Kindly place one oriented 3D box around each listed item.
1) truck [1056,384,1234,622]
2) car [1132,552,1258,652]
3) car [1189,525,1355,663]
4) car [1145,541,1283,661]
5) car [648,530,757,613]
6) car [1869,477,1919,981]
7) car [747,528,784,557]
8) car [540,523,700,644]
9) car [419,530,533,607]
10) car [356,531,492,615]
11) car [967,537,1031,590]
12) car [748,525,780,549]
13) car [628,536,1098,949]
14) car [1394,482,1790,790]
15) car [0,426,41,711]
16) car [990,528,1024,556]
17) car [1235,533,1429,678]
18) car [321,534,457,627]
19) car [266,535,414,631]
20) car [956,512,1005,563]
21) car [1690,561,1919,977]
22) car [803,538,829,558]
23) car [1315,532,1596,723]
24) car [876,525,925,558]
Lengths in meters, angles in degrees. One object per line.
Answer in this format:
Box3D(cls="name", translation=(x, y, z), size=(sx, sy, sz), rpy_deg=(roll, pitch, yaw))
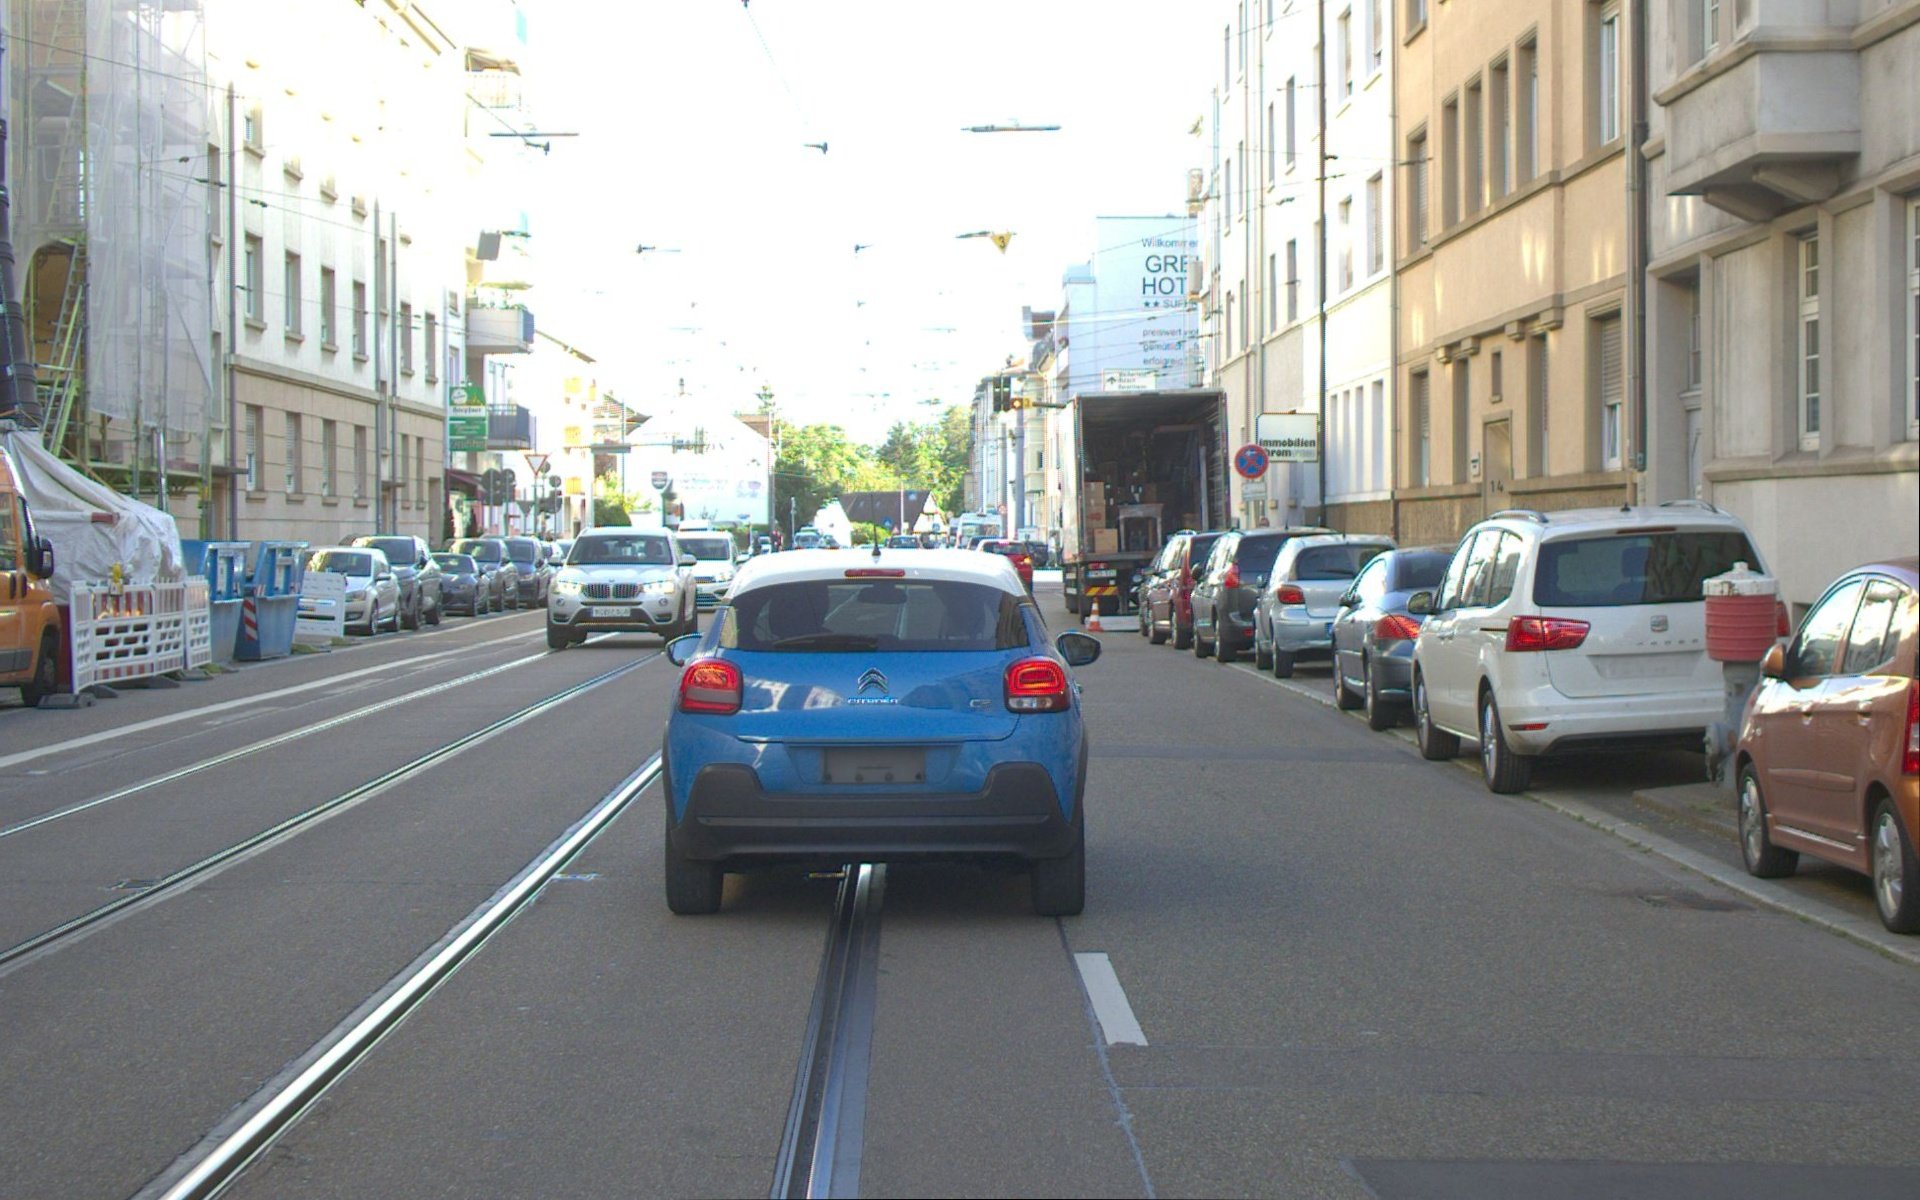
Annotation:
Box3D(cls="truck", translation=(3.315, -1.757, 64.343), size=(2.853, 4.069, 11.271), rpy_deg=(0, 1, 1))
Box3D(cls="car", translation=(3.606, 0.005, 53.331), size=(1.664, 1.481, 4.032), rpy_deg=(0, 1, 0))
Box3D(cls="car", translation=(3.831, -0.110, 42.828), size=(1.664, 1.641, 4.222), rpy_deg=(0, 1, 0))
Box3D(cls="car", translation=(3.566, -0.018, 48.850), size=(1.664, 1.627, 3.871), rpy_deg=(0, 1, 0))
Box3D(cls="car", translation=(-5.177, -0.594, 69.559), size=(1.901, 1.626, 4.267), rpy_deg=(0, 1, 0))
Box3D(cls="car", translation=(4.303, 0.477, 10.192), size=(1.654, 1.746, 4.604), rpy_deg=(0, 1, -5))
Box3D(cls="car", translation=(-10.266, -3.050, 181.674), size=(1.765, 1.481, 4.032), rpy_deg=(0, 1, 0))
Box3D(cls="car", translation=(-4.744, -0.265, 48.438), size=(1.826, 1.626, 4.491), rpy_deg=(0, 1, 0))
Box3D(cls="car", translation=(-10.522, -0.712, 75.002), size=(1.826, 1.626, 4.849), rpy_deg=(0, 1, 0))
Box3D(cls="car", translation=(-10.753, -0.569, 69.229), size=(2.144, 1.616, 4.000), rpy_deg=(-1, 1, -1))
Box3D(cls="car", translation=(1.085, -1.062, 97.698), size=(1.765, 1.481, 4.032), rpy_deg=(0, 1, 0))
Box3D(cls="car", translation=(-11.932, -3.831, 209.747), size=(1.765, 1.481, 4.032), rpy_deg=(0, 1, 0))
Box3D(cls="car", translation=(-0.381, 0.508, 15.076), size=(1.735, 1.502, 3.993), rpy_deg=(2, 1, 0))
Box3D(cls="car", translation=(4.033, 0.174, 22.671), size=(1.730, 1.821, 4.687), rpy_deg=(0, 1, 0))
Box3D(cls="car", translation=(-9.320, -0.254, 28.727), size=(2.144, 2.467, 4.981), rpy_deg=(0, 1, -3))
Box3D(cls="car", translation=(2.534, -3.142, 185.720), size=(1.765, 1.481, 4.032), rpy_deg=(0, 1, 0))
Box3D(cls="car", translation=(4.053, 0.017, 37.985), size=(1.664, 1.514, 4.222), rpy_deg=(0, 1, 0))
Box3D(cls="car", translation=(-10.042, -0.375, 60.741), size=(1.714, 1.588, 4.267), rpy_deg=(0, 1, 0))
Box3D(cls="car", translation=(-10.115, -0.303, 56.358), size=(1.714, 1.512, 4.047), rpy_deg=(0, 1, 0))
Box3D(cls="car", translation=(0.914, -2.854, 156.501), size=(2.220, 2.276, 4.084), rpy_deg=(0, 1, 0))
Box3D(cls="car", translation=(4.351, 0.623, 14.849), size=(1.614, 1.555, 3.600), rpy_deg=(0, 1, 0))
Box3D(cls="car", translation=(-10.649, -3.846, 254.813), size=(1.765, 1.481, 4.032), rpy_deg=(0, 1, 0))
Box3D(cls="car", translation=(4.053, 0.174, 28.734), size=(1.722, 1.481, 4.222), rpy_deg=(0, 1, 0))
Box3D(cls="car", translation=(-2.678, -2.678, 156.649), size=(2.180, 1.481, 4.160), rpy_deg=(0, 1, 0))
